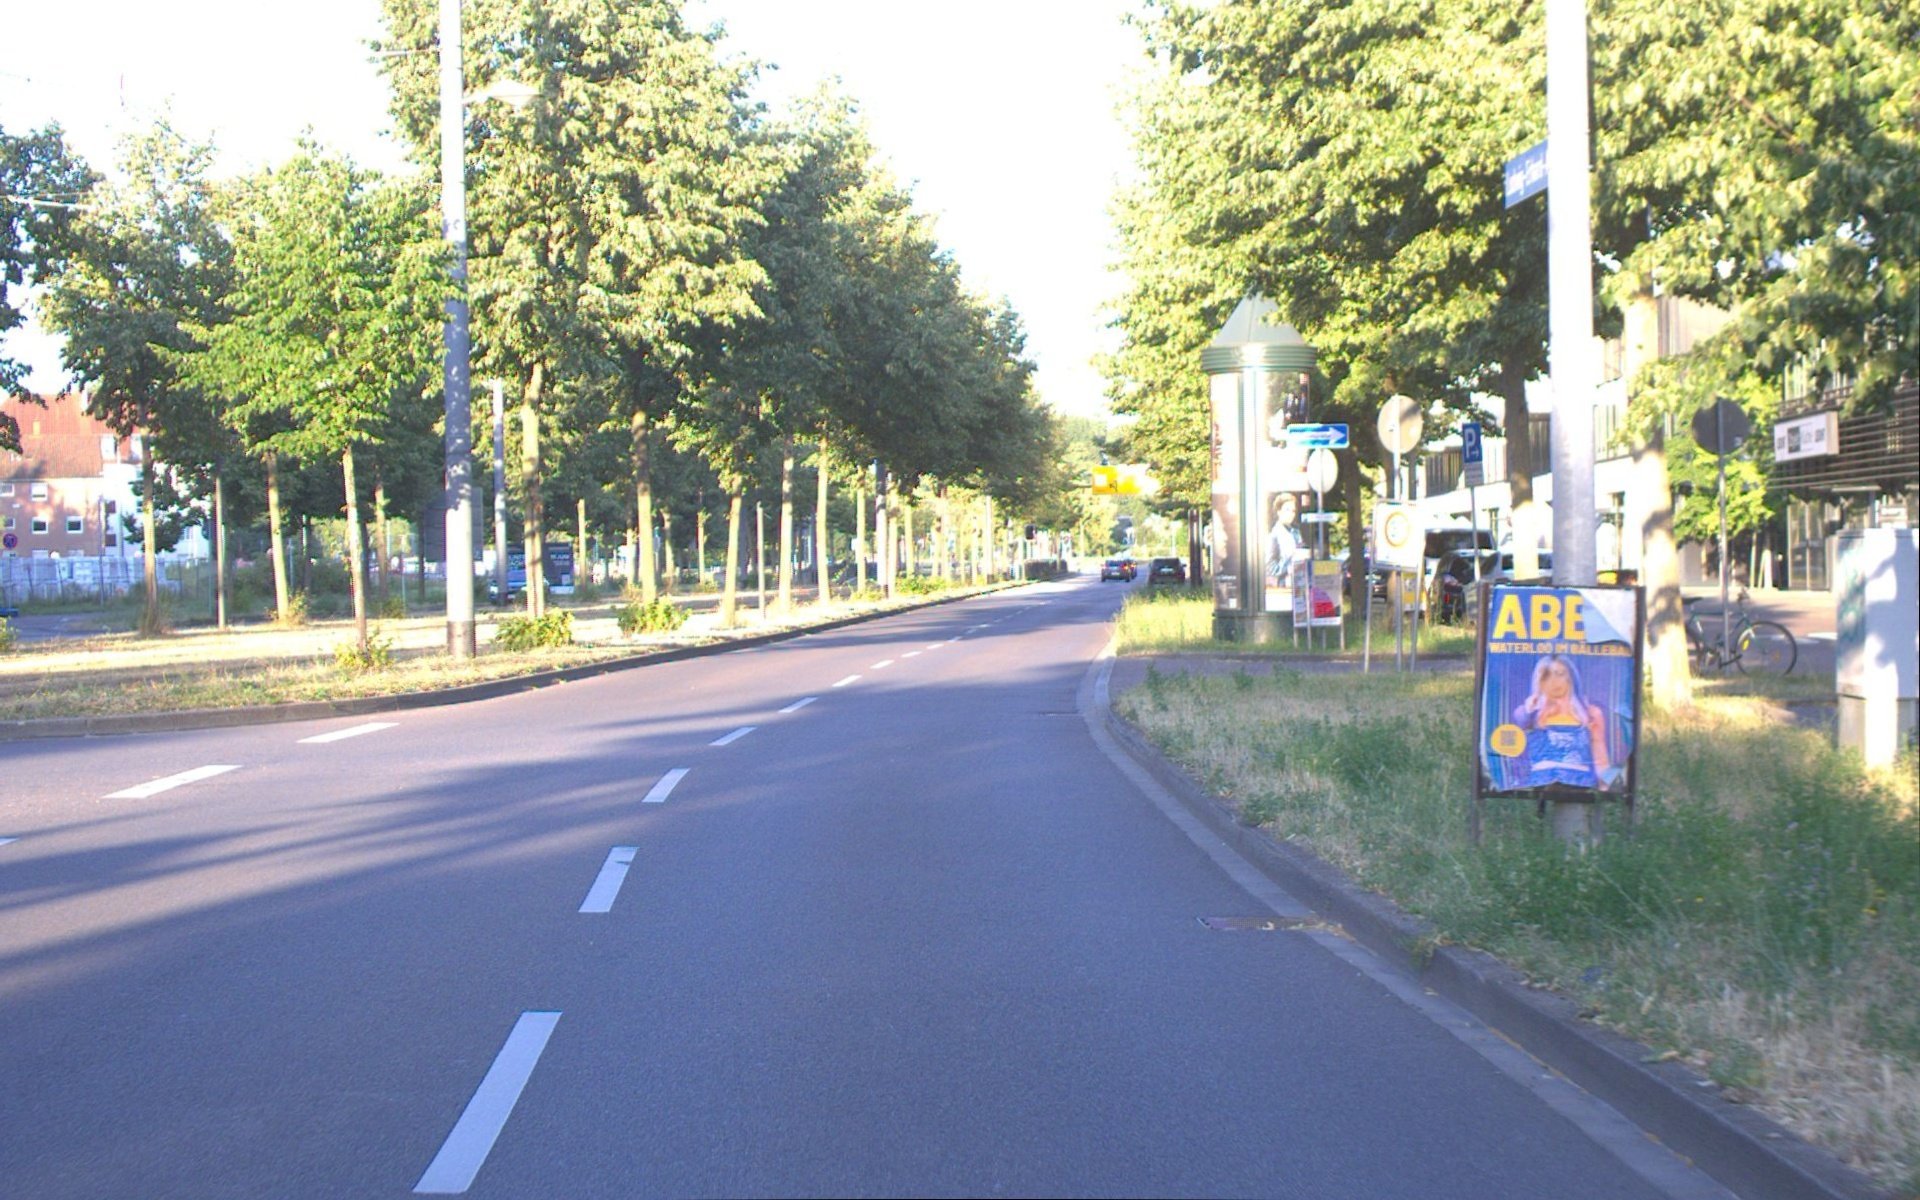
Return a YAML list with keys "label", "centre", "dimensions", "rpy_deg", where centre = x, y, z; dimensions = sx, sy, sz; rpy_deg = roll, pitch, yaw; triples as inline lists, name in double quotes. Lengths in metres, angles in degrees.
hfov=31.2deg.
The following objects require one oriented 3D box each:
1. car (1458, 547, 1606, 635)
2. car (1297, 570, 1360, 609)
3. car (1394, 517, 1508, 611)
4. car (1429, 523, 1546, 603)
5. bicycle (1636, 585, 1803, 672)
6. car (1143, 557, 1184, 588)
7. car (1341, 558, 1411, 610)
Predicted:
- label: "car"
  centre: [10.093, -0.172, 60.979]
  dimensions: [1.917, 1.491, 5.041]
  rpy_deg: [0, 1, 2]
- label: "car"
  centre: [13.360, -0.364, 124.734]
  dimensions: [1.852, 1.363, 4.834]
  rpy_deg: [-1, 0, 2]
- label: "car"
  centre: [10.613, -0.776, 74.578]
  dimensions: [1.986, 1.982, 4.932]
  rpy_deg: [0, 1, 3]
- label: "car"
  centre: [10.247, -0.744, 67.030]
  dimensions: [1.859, 1.491, 4.290]
  rpy_deg: [-1, 1, 4]
- label: "bicycle"
  centre: [8.063, 0.301, 36.532]
  dimensions: [1.721, 0.907, 0.361]
  rpy_deg: [0, 1, 37]
- label: "car"
  centre: [9.854, -1.344, 166.681]
  dimensions: [1.912, 1.481, 4.000]
  rpy_deg: [0, 0, 3]
- label: "car"
  centre: [12.470, -0.498, 103.188]
  dimensions: [1.781, 1.489, 4.000]
  rpy_deg: [2, 1, 3]
